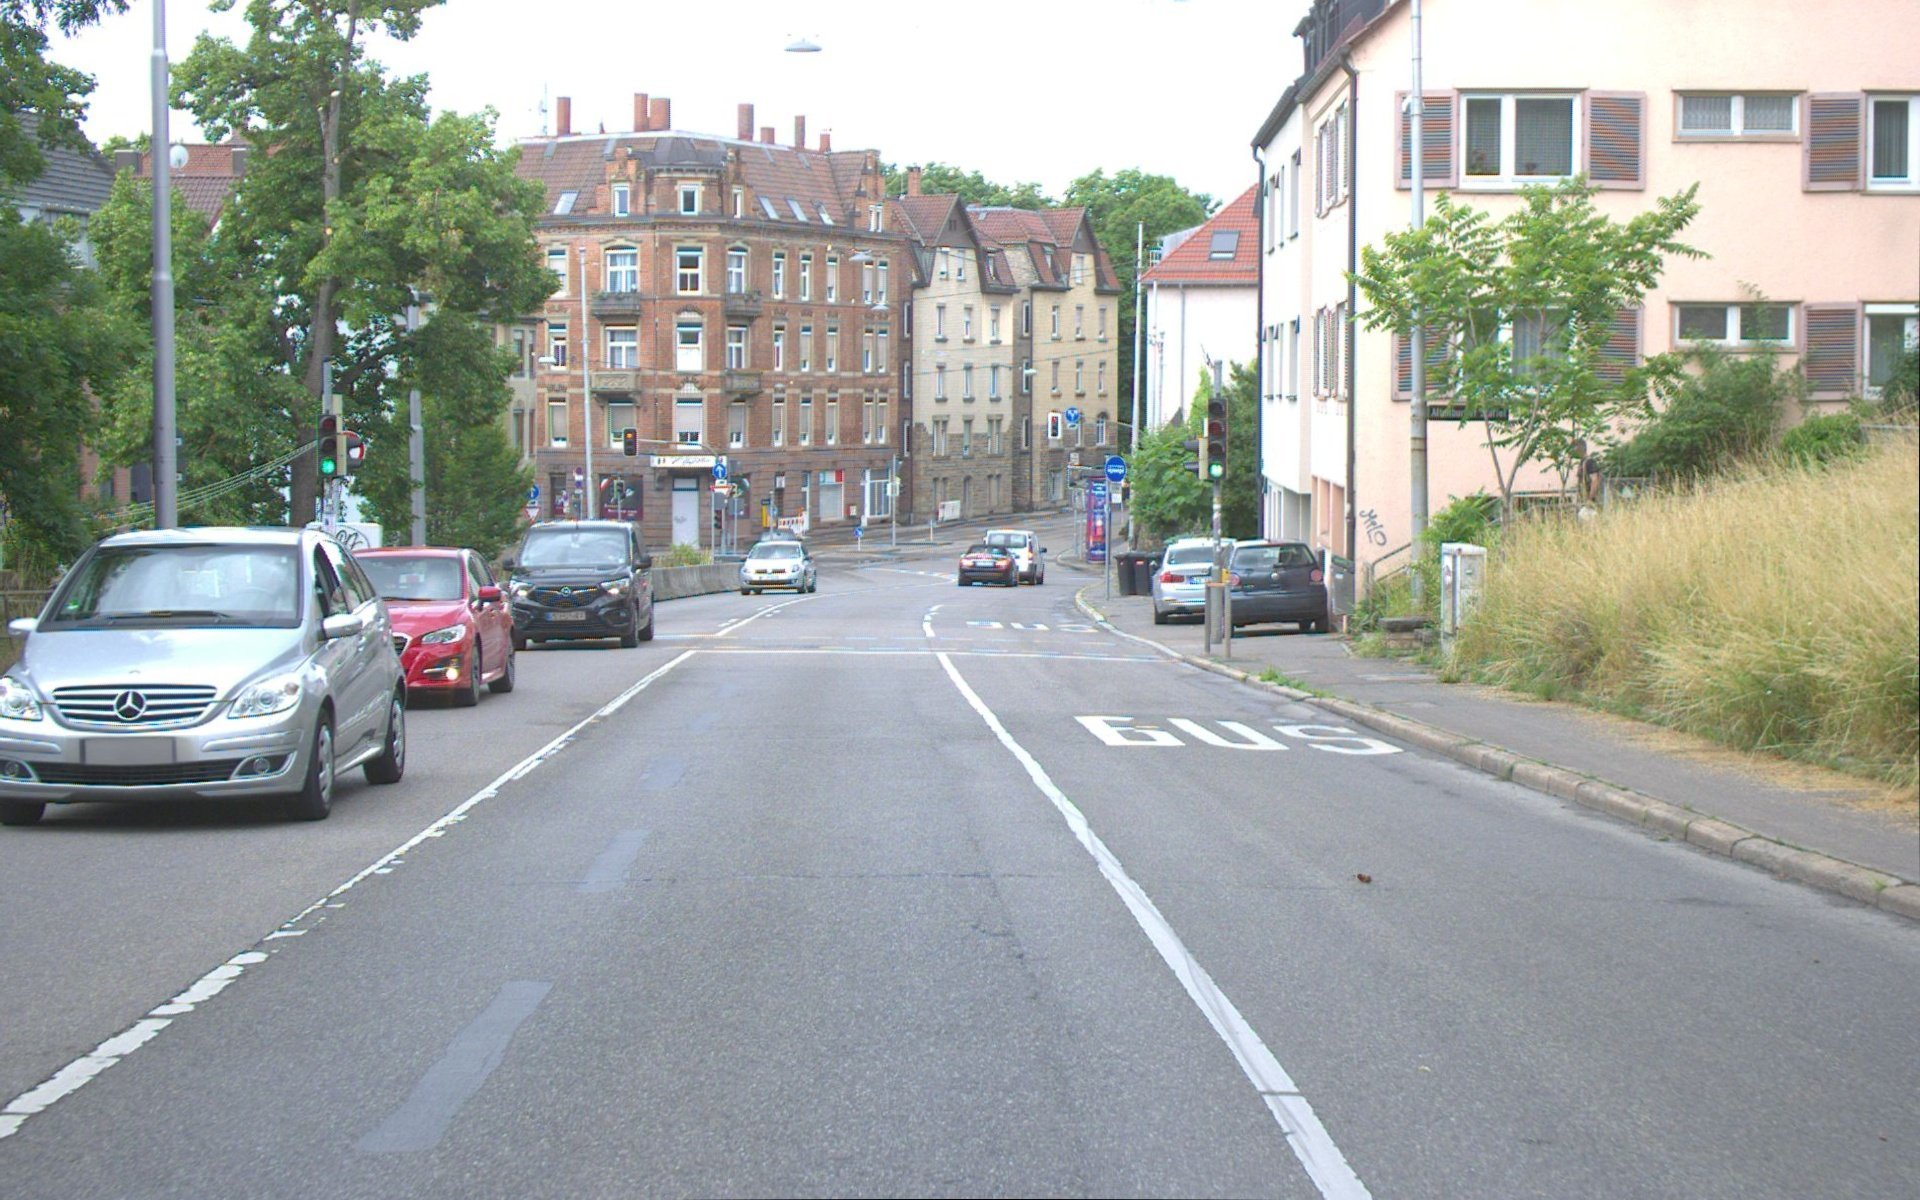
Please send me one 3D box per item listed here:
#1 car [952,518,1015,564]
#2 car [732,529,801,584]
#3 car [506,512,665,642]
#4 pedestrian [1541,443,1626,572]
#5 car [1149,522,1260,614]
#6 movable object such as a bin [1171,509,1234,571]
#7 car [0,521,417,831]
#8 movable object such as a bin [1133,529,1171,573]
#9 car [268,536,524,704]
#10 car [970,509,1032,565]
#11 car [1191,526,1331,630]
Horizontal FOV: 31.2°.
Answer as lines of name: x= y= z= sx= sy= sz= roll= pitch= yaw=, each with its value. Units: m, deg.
car: x=0.785 y=-1.970 z=113.463 sx=1.816 sy=1.425 sz=4.000 roll=2 pitch=2 yaw=4
car: x=-5.304 y=-1.215 z=94.600 sx=1.720 sy=1.440 sz=4.159 roll=-1 pitch=1 yaw=-1
car: x=-5.257 y=-0.360 z=48.697 sx=1.784 sy=1.740 sz=4.429 roll=-1 pitch=1 yaw=-1
pedestrian: x=8.348 y=-1.236 z=46.097 sx=0.887 sy=1.690 sz=0.873 roll=1 pitch=1 yaw=-4
car: x=4.381 y=-0.608 z=62.114 sx=1.794 sy=1.446 sz=4.718 roll=-3 pitch=2 yaw=3
movable object such as a bin: x=5.658 y=-1.396 z=80.355 sx=1.047 sy=1.440 sz=1.419 roll=0 pitch=1 yaw=-15
car: x=-4.317 y=0.343 z=19.763 sx=1.783 sy=1.569 sz=4.281 roll=-1 pitch=1 yaw=-1
movable object such as a bin: x=4.669 y=-1.186 z=83.435 sx=0.742 sy=1.055 sz=0.679 roll=0 pitch=1 yaw=-15
car: x=-5.296 y=0.135 z=32.781 sx=1.783 sy=1.454 sz=4.429 roll=-1 pitch=1 yaw=-1
car: x=1.446 y=-2.198 z=120.206 sx=1.909 sy=1.877 sz=4.000 roll=2 pitch=1 yaw=4
car: x=4.619 y=-0.359 z=53.204 sx=1.681 sy=1.446 sz=4.000 roll=-3 pitch=1 yaw=-1
